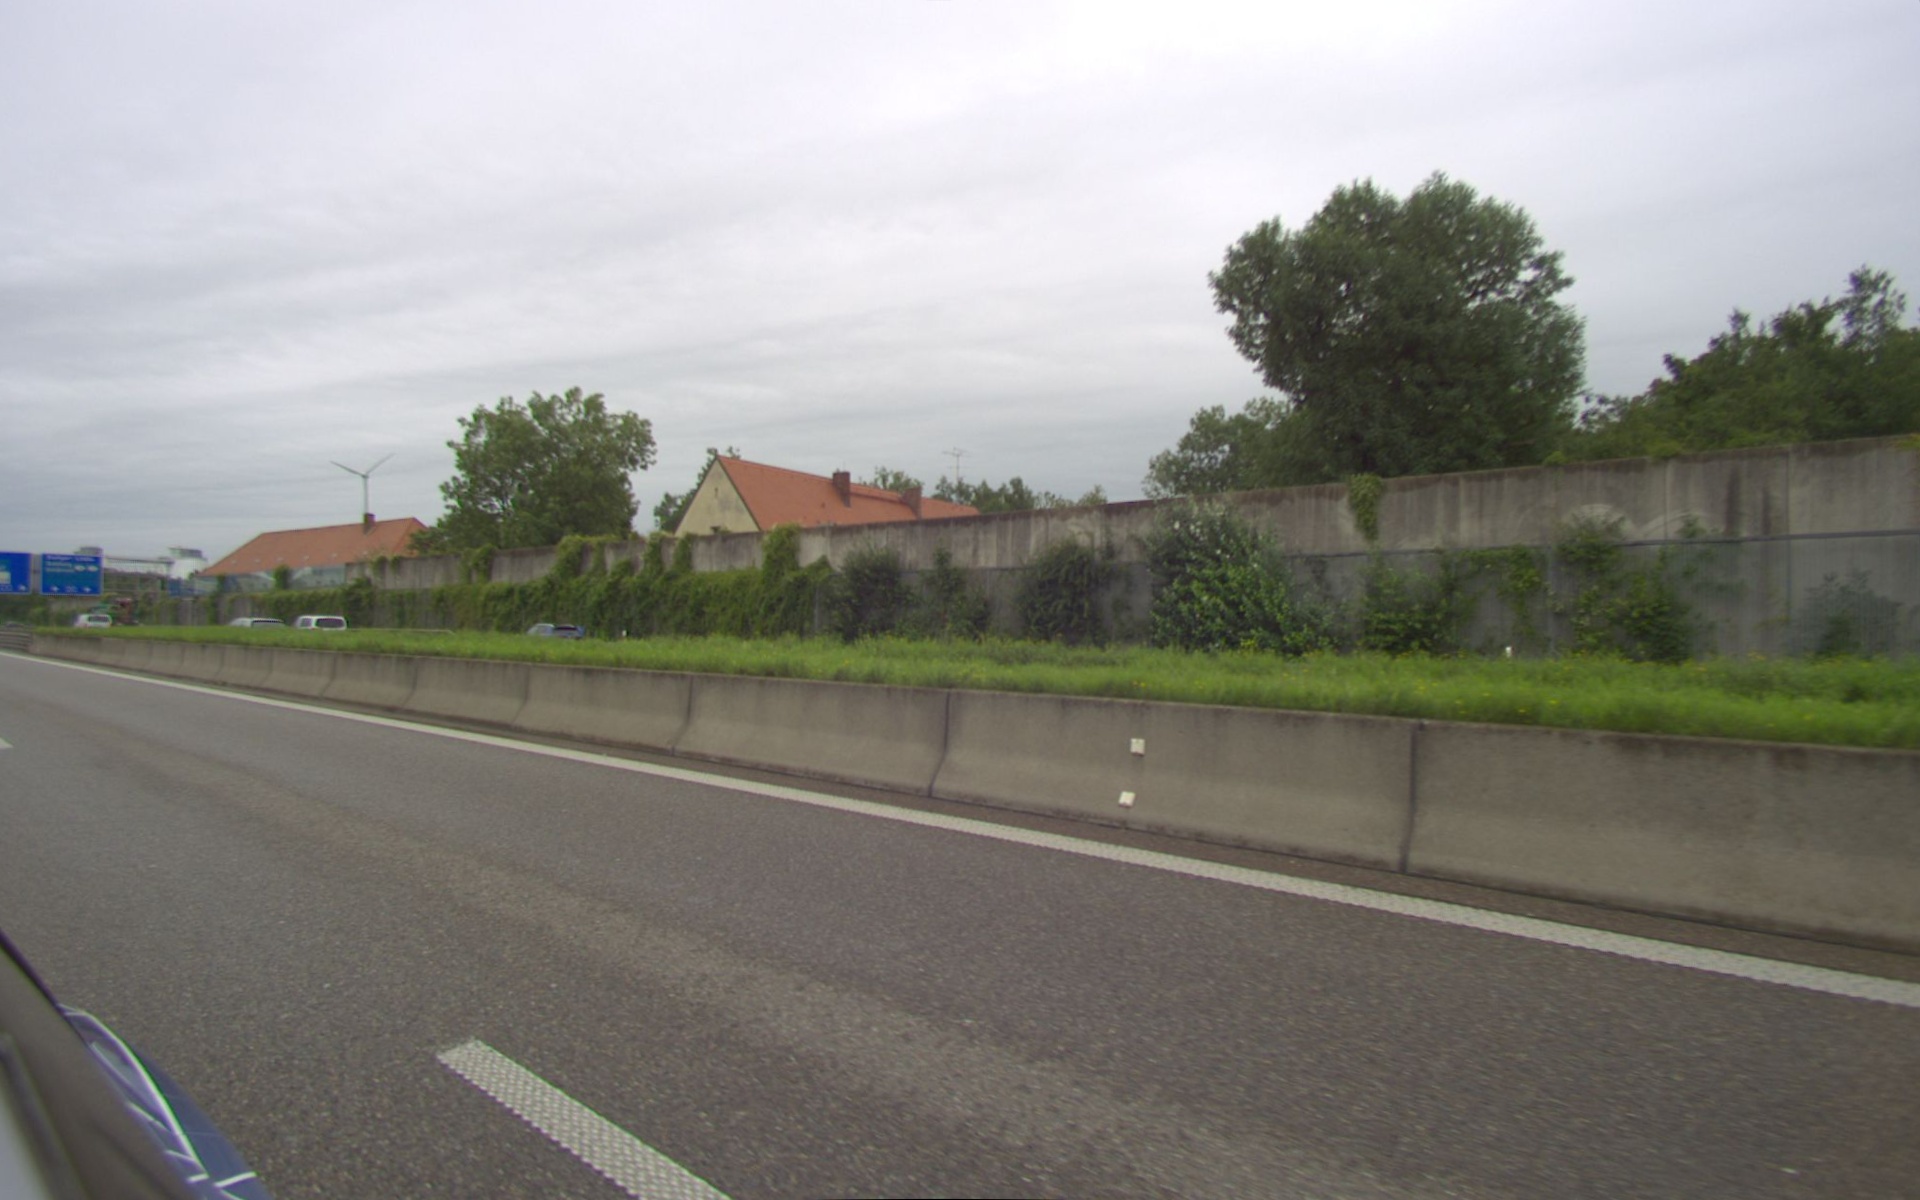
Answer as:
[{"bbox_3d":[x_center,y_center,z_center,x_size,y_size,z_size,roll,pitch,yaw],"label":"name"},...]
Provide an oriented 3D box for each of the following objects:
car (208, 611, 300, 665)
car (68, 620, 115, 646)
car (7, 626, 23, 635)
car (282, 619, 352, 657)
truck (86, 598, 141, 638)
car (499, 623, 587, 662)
[{"bbox_3d":[-28.658,1.481,41.023,4.397,2.029,1.974,-1,0,40],"label":"car"},{"bbox_3d":[-70.278,2.699,81.844,5.191,2.029,2.059,-2,-3,40],"label":"car"},{"bbox_3d":[-179.339,5.811,192.062,4.521,1.564,1.935,-1,0,43],"label":"car"},{"bbox_3d":[-37.481,2.171,58.954,5.223,2.029,1.973,-1,0,40],"label":"car"},{"bbox_3d":[-82.520,1.728,98.600,8.331,3.805,2.664,-1,0,40],"label":"truck"},{"bbox_3d":[-18.807,1.878,45.582,3.995,1.586,1.974,-1,0,39],"label":"car"}]
